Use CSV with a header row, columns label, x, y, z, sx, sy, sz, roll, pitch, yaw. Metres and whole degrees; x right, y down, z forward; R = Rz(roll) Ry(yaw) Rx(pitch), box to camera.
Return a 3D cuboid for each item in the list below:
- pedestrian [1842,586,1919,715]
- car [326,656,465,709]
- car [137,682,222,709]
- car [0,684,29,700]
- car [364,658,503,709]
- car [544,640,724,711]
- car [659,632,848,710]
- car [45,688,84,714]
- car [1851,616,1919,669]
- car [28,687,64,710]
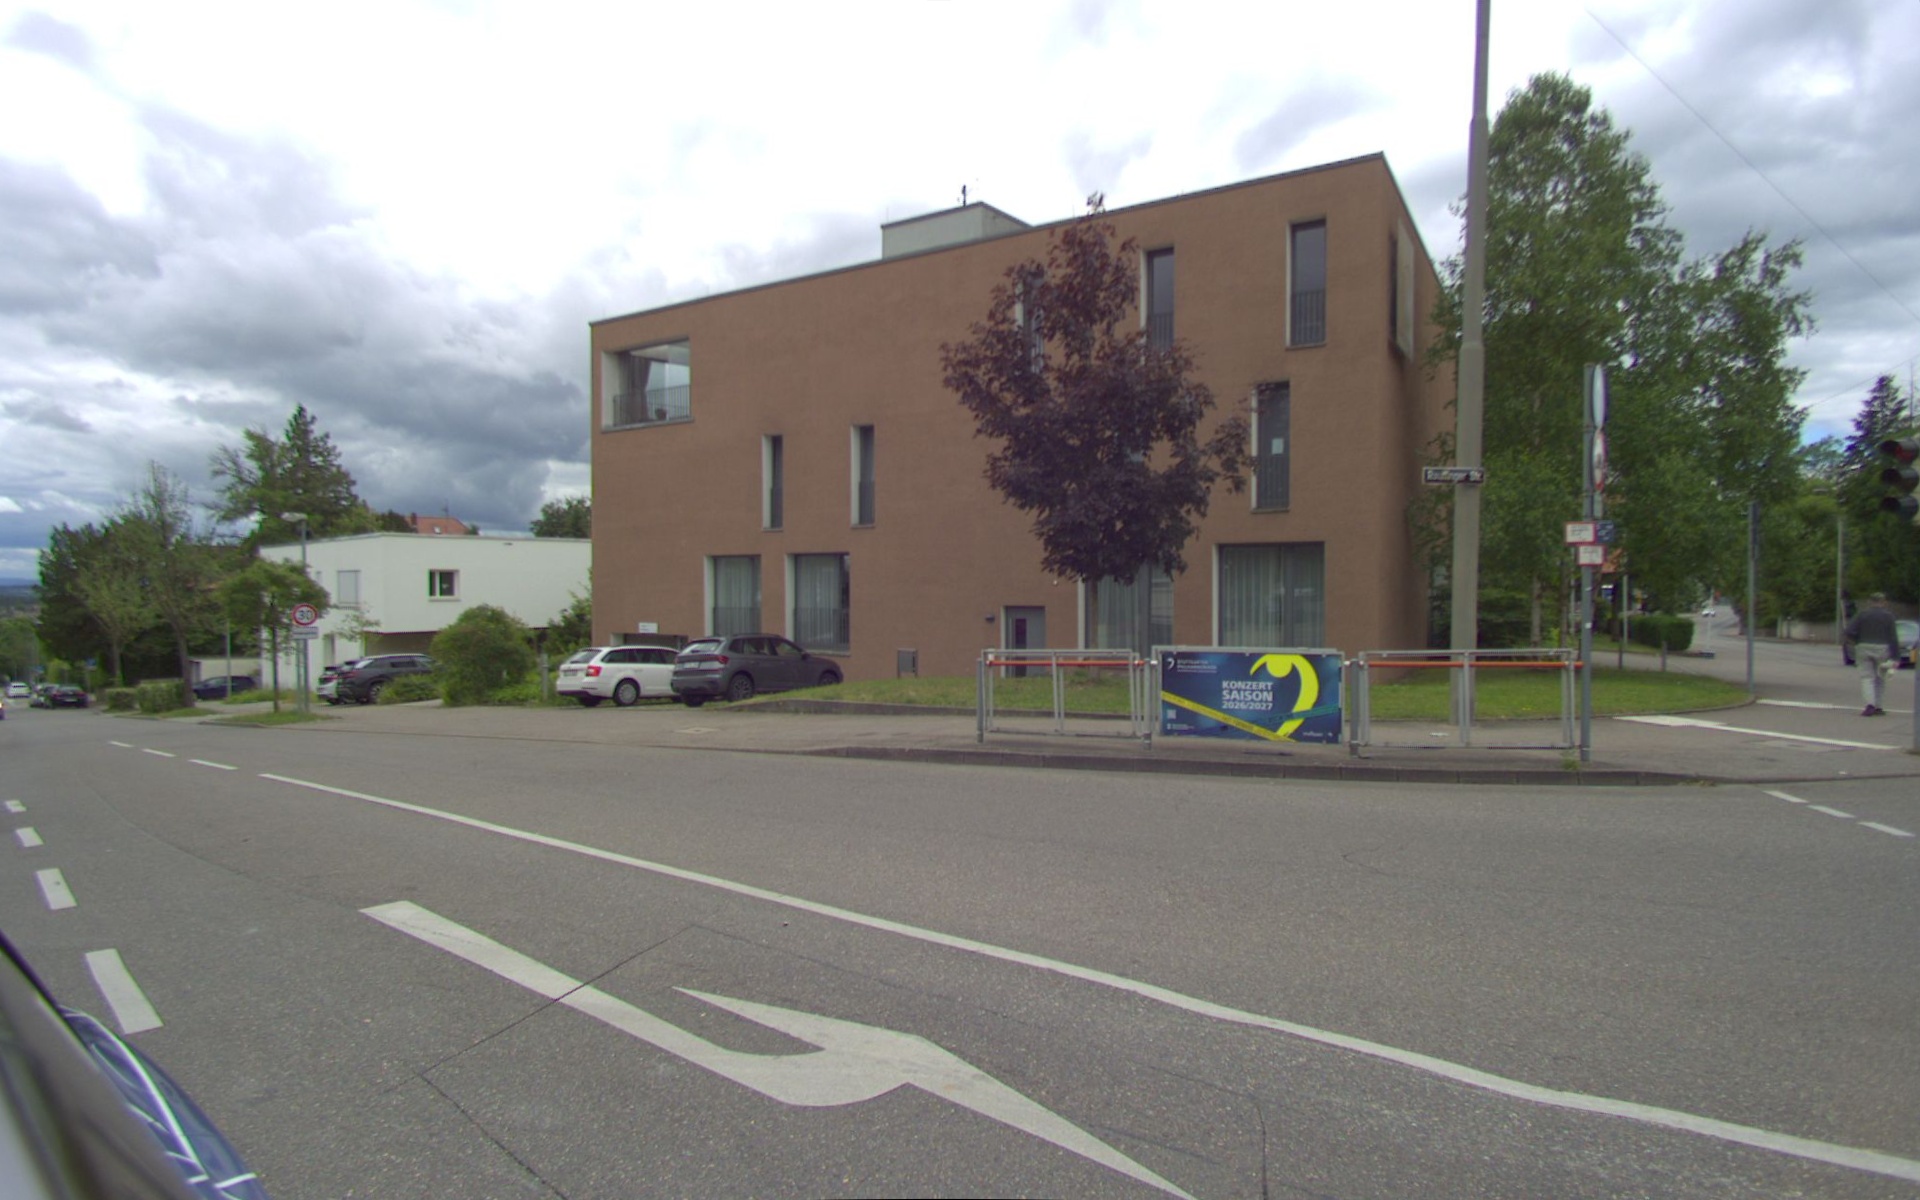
label,x,y,z,sx,sy,sz,roll,pitch,yaw
pedestrian,12.248,0.662,13.463,0.683,1.646,0.730,-3,-3,39
car,-19.977,2.898,35.932,1.793,1.608,3.943,-6,-4,43
car,-46.976,5.735,60.931,3.939,1.296,1.665,0,-4,-43
car,-95.913,9.293,102.347,4.362,1.432,1.861,-3,-3,38
car,-18.235,2.877,35.147,1.727,1.497,3.943,-6,-4,43
car,-8.000,1.836,25.121,1.724,1.497,3.950,-5,-4,37
car,-4.505,1.528,22.522,1.724,1.497,3.950,-5,-4,37
car,-54.938,6.167,62.065,1.638,1.432,4.003,0,-4,-44
car,28.977,1.283,31.007,1.825,1.547,3.957,-1,-2,31
car,-61.561,6.625,68.143,1.638,1.432,4.371,0,-4,-44
